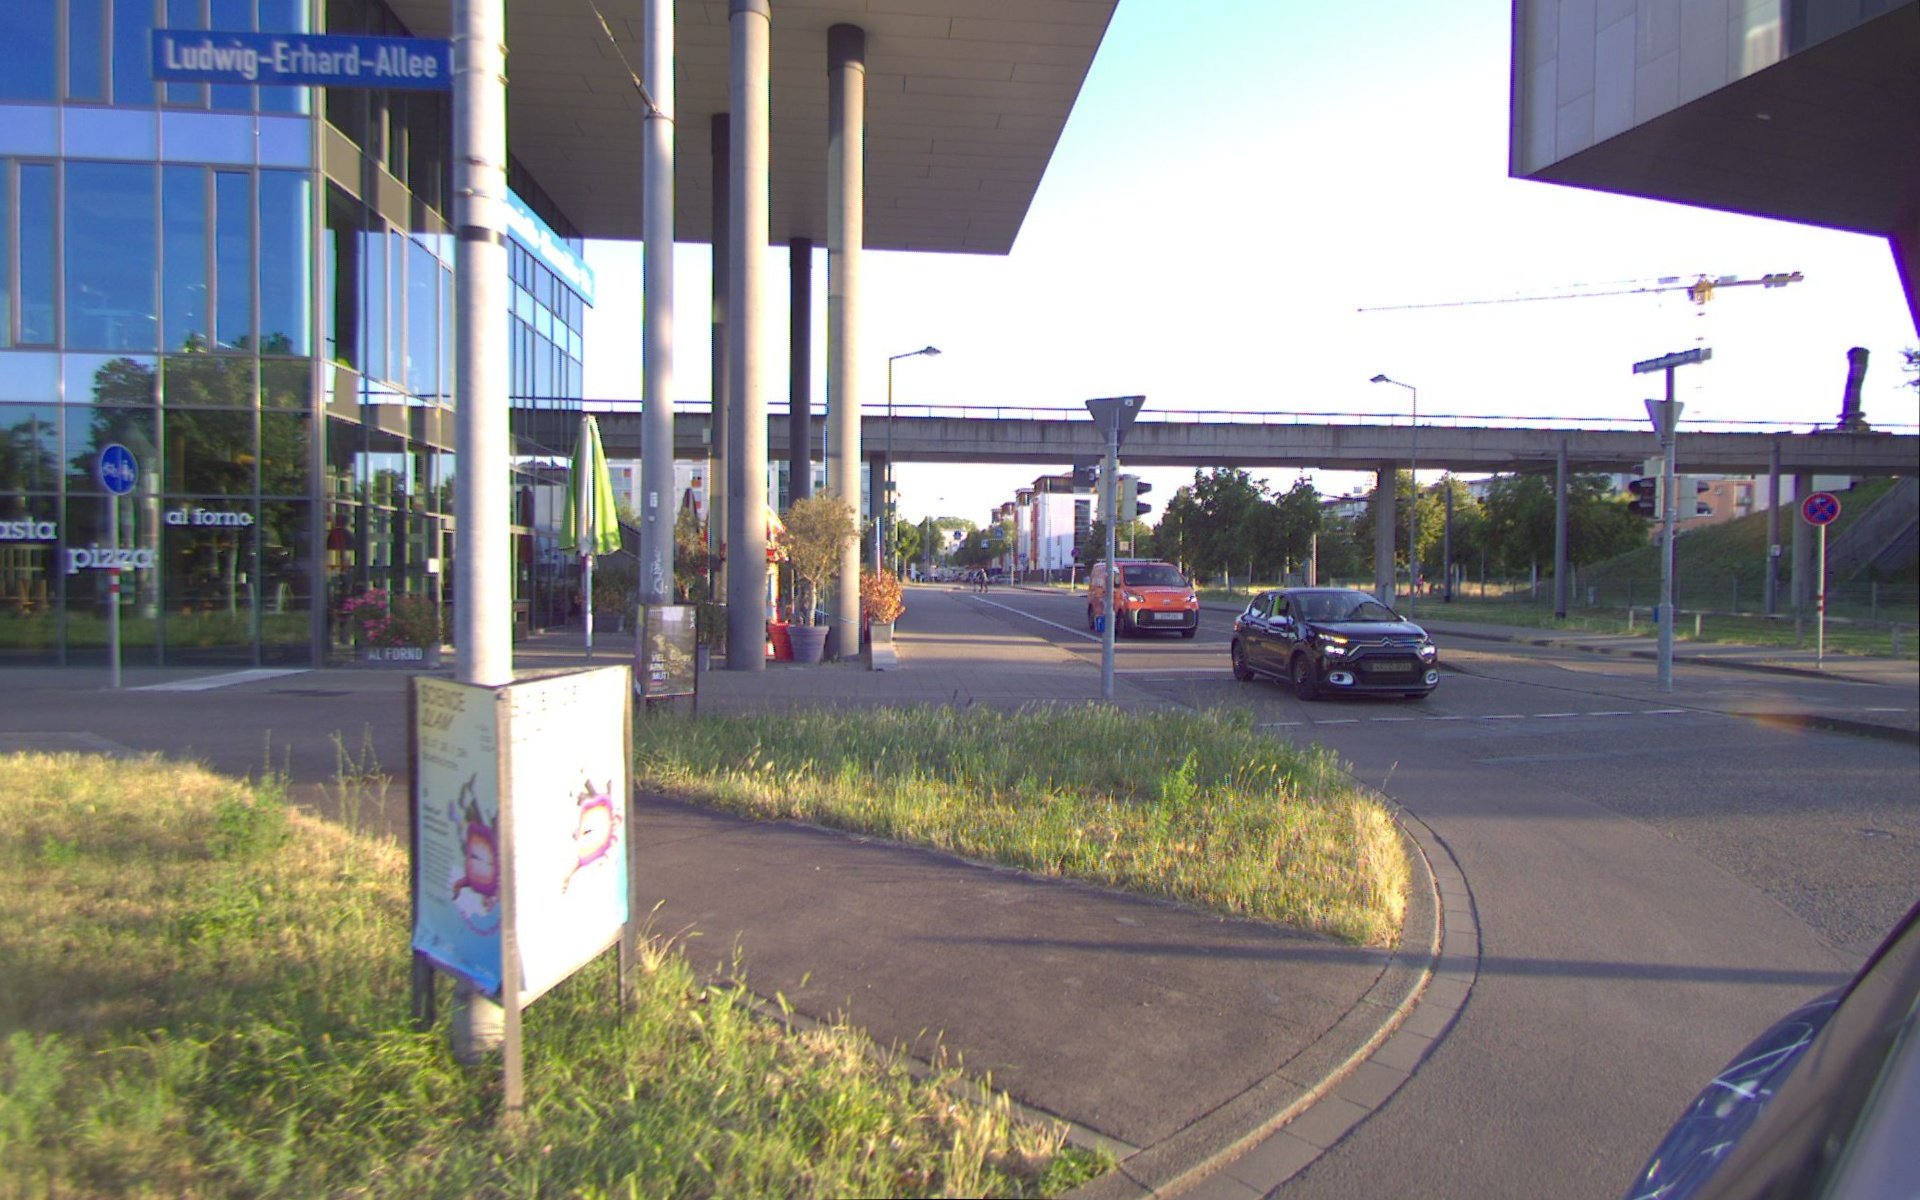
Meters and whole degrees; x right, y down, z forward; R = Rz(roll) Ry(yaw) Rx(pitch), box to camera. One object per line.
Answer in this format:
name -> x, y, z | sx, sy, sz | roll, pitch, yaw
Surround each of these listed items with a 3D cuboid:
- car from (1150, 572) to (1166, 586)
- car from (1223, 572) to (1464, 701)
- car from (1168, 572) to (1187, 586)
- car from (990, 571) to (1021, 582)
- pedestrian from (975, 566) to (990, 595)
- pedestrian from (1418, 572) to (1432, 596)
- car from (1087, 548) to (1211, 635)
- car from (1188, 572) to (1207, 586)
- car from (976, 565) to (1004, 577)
car -> 25.040, -2.664, 128.095 | 1.841, 1.742, 3.837 | 0, 1, 8
car -> 5.214, 0.397, 14.383 | 1.727, 1.571, 4.074 | 0, 1, -2
car -> 27.481, -2.653, 127.866 | 1.839, 1.742, 3.840 | 0, 1, 5
car -> 6.431, -3.310, 143.718 | 4.305, 1.578, 1.841 | 0, 2, -2
pedestrian -> 1.608, -1.380, 70.910 | 0.943, 2.038, 0.628 | 1, 2, 14
pedestrian -> 32.682, -1.137, 71.081 | 0.767, 1.631, 0.416 | 0, 1, 8
car -> 4.738, -0.261, 26.103 | 1.894, 2.015, 4.828 | -1, 1, -5
car -> 29.962, -2.640, 127.751 | 1.840, 1.742, 3.838 | 0, 1, 7
car -> 5.163, -4.989, 173.862 | 4.652, 2.038, 2.003 | 0, 2, -6
